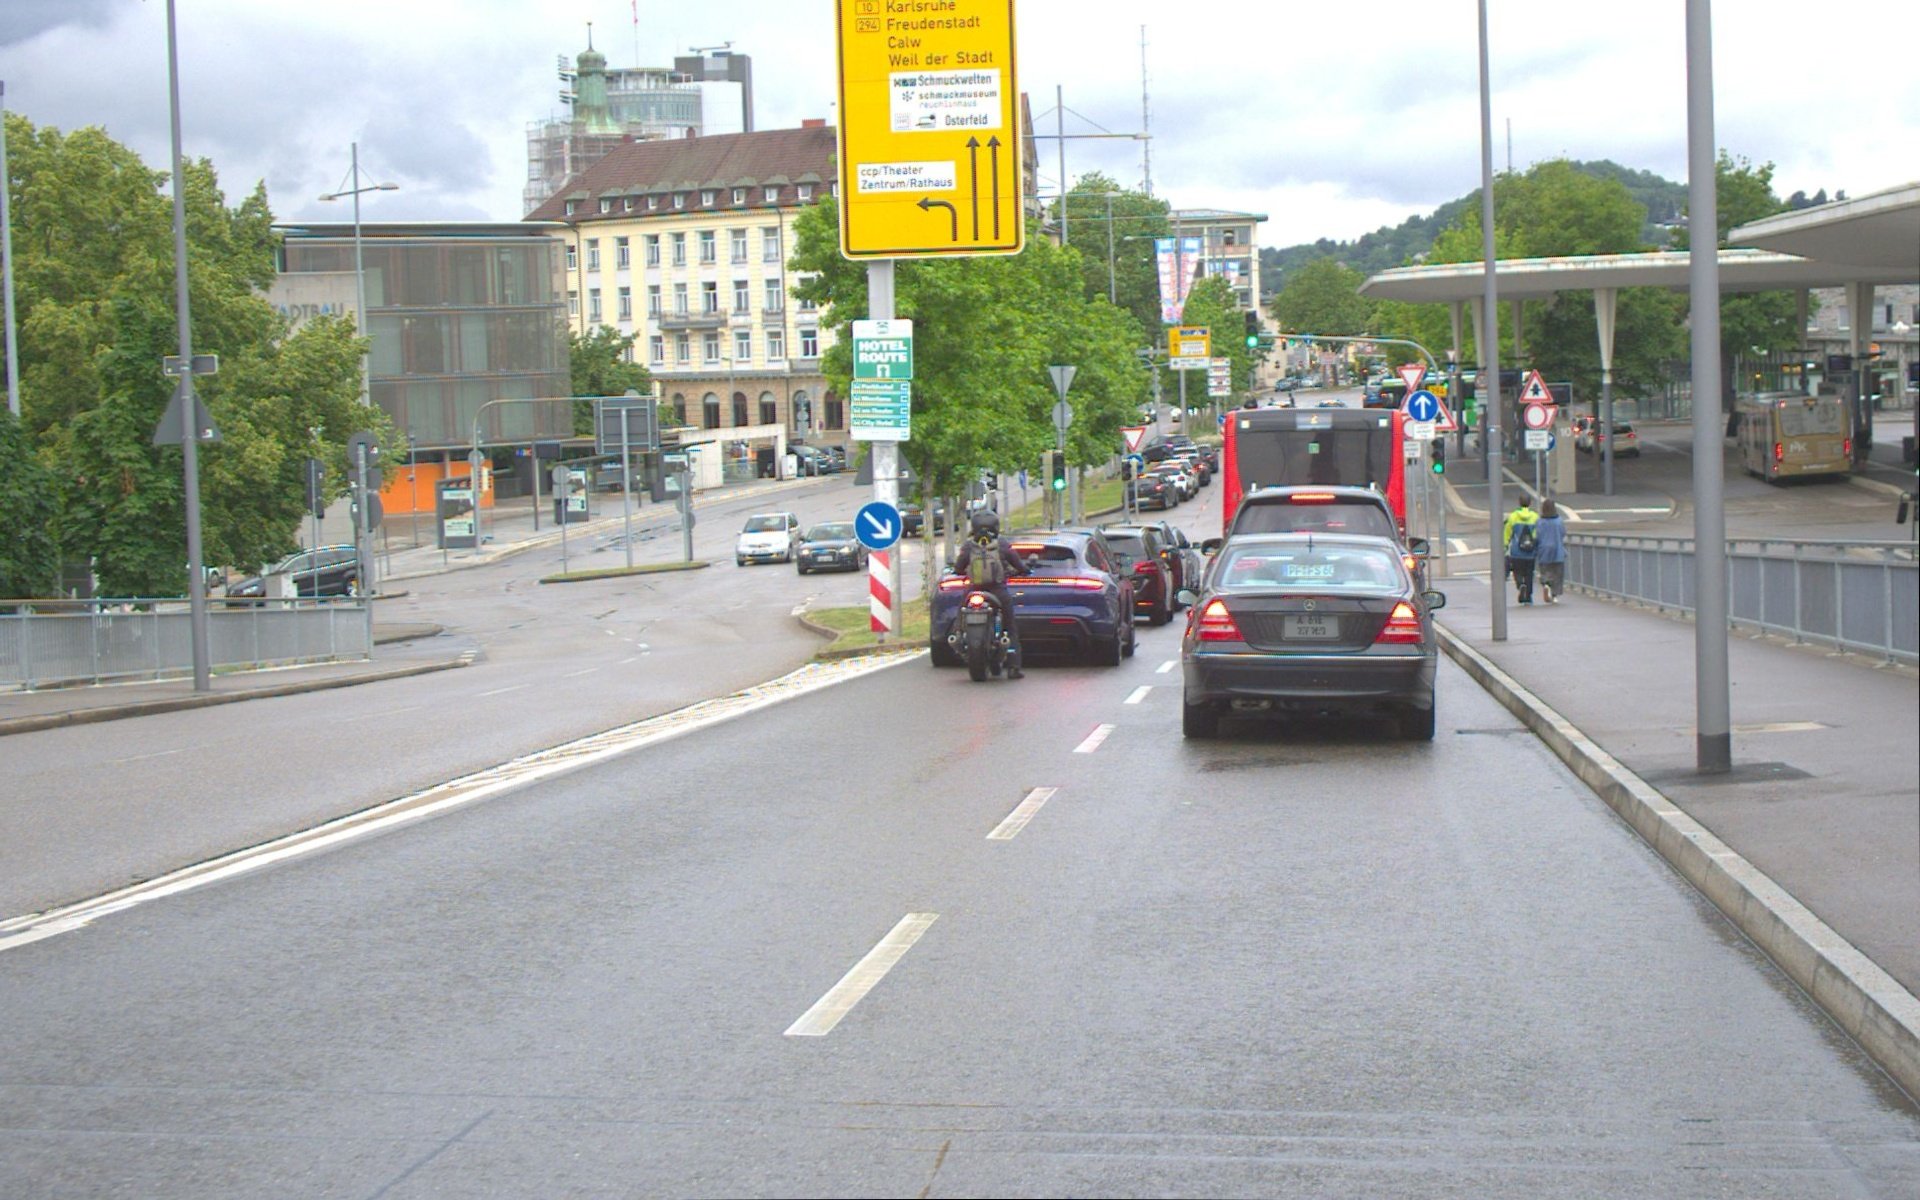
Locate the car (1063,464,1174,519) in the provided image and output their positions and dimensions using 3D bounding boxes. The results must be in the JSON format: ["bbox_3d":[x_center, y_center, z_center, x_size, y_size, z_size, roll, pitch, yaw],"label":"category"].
[{"bbox_3d":[6.131,-4.205,132.864,3.989,2.006,1.999,-1,2,11],"label":"car"}]

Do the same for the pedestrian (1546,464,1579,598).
[{"bbox_3d":[9.103,-1.041,51.987,0.424,2.007,0.483,-2,0,8],"label":"pedestrian"}]

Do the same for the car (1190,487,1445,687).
[{"bbox_3d":[3.313,-0.182,31.238,1.828,1.681,3.998,0,2,13],"label":"car"}]

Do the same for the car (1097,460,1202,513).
[{"bbox_3d":[7.668,-4.601,138.950,3.989,2.006,1.999,-1,2,11],"label":"car"}]

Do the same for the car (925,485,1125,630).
[{"bbox_3d":[0.747,-0.493,36.439,1.760,1.431,3.999,0,2,6],"label":"car"}]

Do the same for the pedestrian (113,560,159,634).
[{"bbox_3d":[-16.078,-0.064,67.098,0.648,1.403,0.530,-1,3,9],"label":"pedestrian"}]

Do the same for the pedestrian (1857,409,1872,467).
[{"bbox_3d":[32.075,-5.743,121.930,0.424,2.006,0.483,-2,2,8],"label":"pedestrian"}]

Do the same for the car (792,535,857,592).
[{"bbox_3d":[-4.064,-1.119,103.750,1.833,1.521,4.595,-2,2,-1],"label":"car"}]

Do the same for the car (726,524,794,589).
[{"bbox_3d":[-6.517,-1.446,112.432,1.993,2.007,4.000,-2,1,-1],"label":"car"}]

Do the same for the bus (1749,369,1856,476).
[{"bbox_3d":[30.156,-6.284,123.400,3.180,3.588,10.506,-1,2,11],"label":"bus"}]

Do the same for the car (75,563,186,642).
[{"bbox_3d":[-24.220,0.055,100.273,1.993,2.006,4.001,2,3,-30],"label":"car"}]

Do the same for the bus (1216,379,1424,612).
[{"bbox_3d":[5.453,-1.589,52.301,2.828,3.178,10.307,0,2,6],"label":"bus"}]

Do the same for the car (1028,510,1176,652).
[{"bbox_3d":[2.161,-0.320,51.342,1.994,1.999,4.000,0,2,5],"label":"car"}]

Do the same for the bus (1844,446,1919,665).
[{"bbox_3d":[16.953,-0.797,57.765,2.646,3.224,7.073,-2,5,3],"label":"bus"}]

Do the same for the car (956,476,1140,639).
[{"bbox_3d":[1.188,-0.597,44.408,1.994,1.999,3.999,0,2,7],"label":"car"}]

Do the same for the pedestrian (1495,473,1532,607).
[{"bbox_3d":[8.380,-0.905,52.068,0.490,2.007,0.469,-2,0,8],"label":"pedestrian"}]

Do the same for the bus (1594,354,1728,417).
[{"bbox_3d":[41.024,-12.564,201.268,7.198,3.384,3.082,-2,3,3],"label":"bus"}]

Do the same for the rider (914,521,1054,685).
[{"bbox_3d":[0.248,-0.002,32.549,0.881,1.467,2.195,1,2,12],"label":"rider"}]

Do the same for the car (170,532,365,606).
[{"bbox_3d":[-21.577,-0.999,107.224,5.613,2.006,1.999,-4,3,-39],"label":"car"}]

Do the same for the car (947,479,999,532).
[{"bbox_3d":[0.501,-3.803,139.260,1.993,2.007,4.202,-2,1,-1],"label":"car"}]

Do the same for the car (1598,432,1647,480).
[{"bbox_3d":[28.775,-6.251,149.269,1.994,2.006,3.998,-1,2,12],"label":"car"}]

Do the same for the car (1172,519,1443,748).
[{"bbox_3d":[2.452,0.167,24.001,1.706,1.414,3.725,1,2,7],"label":"car"}]
